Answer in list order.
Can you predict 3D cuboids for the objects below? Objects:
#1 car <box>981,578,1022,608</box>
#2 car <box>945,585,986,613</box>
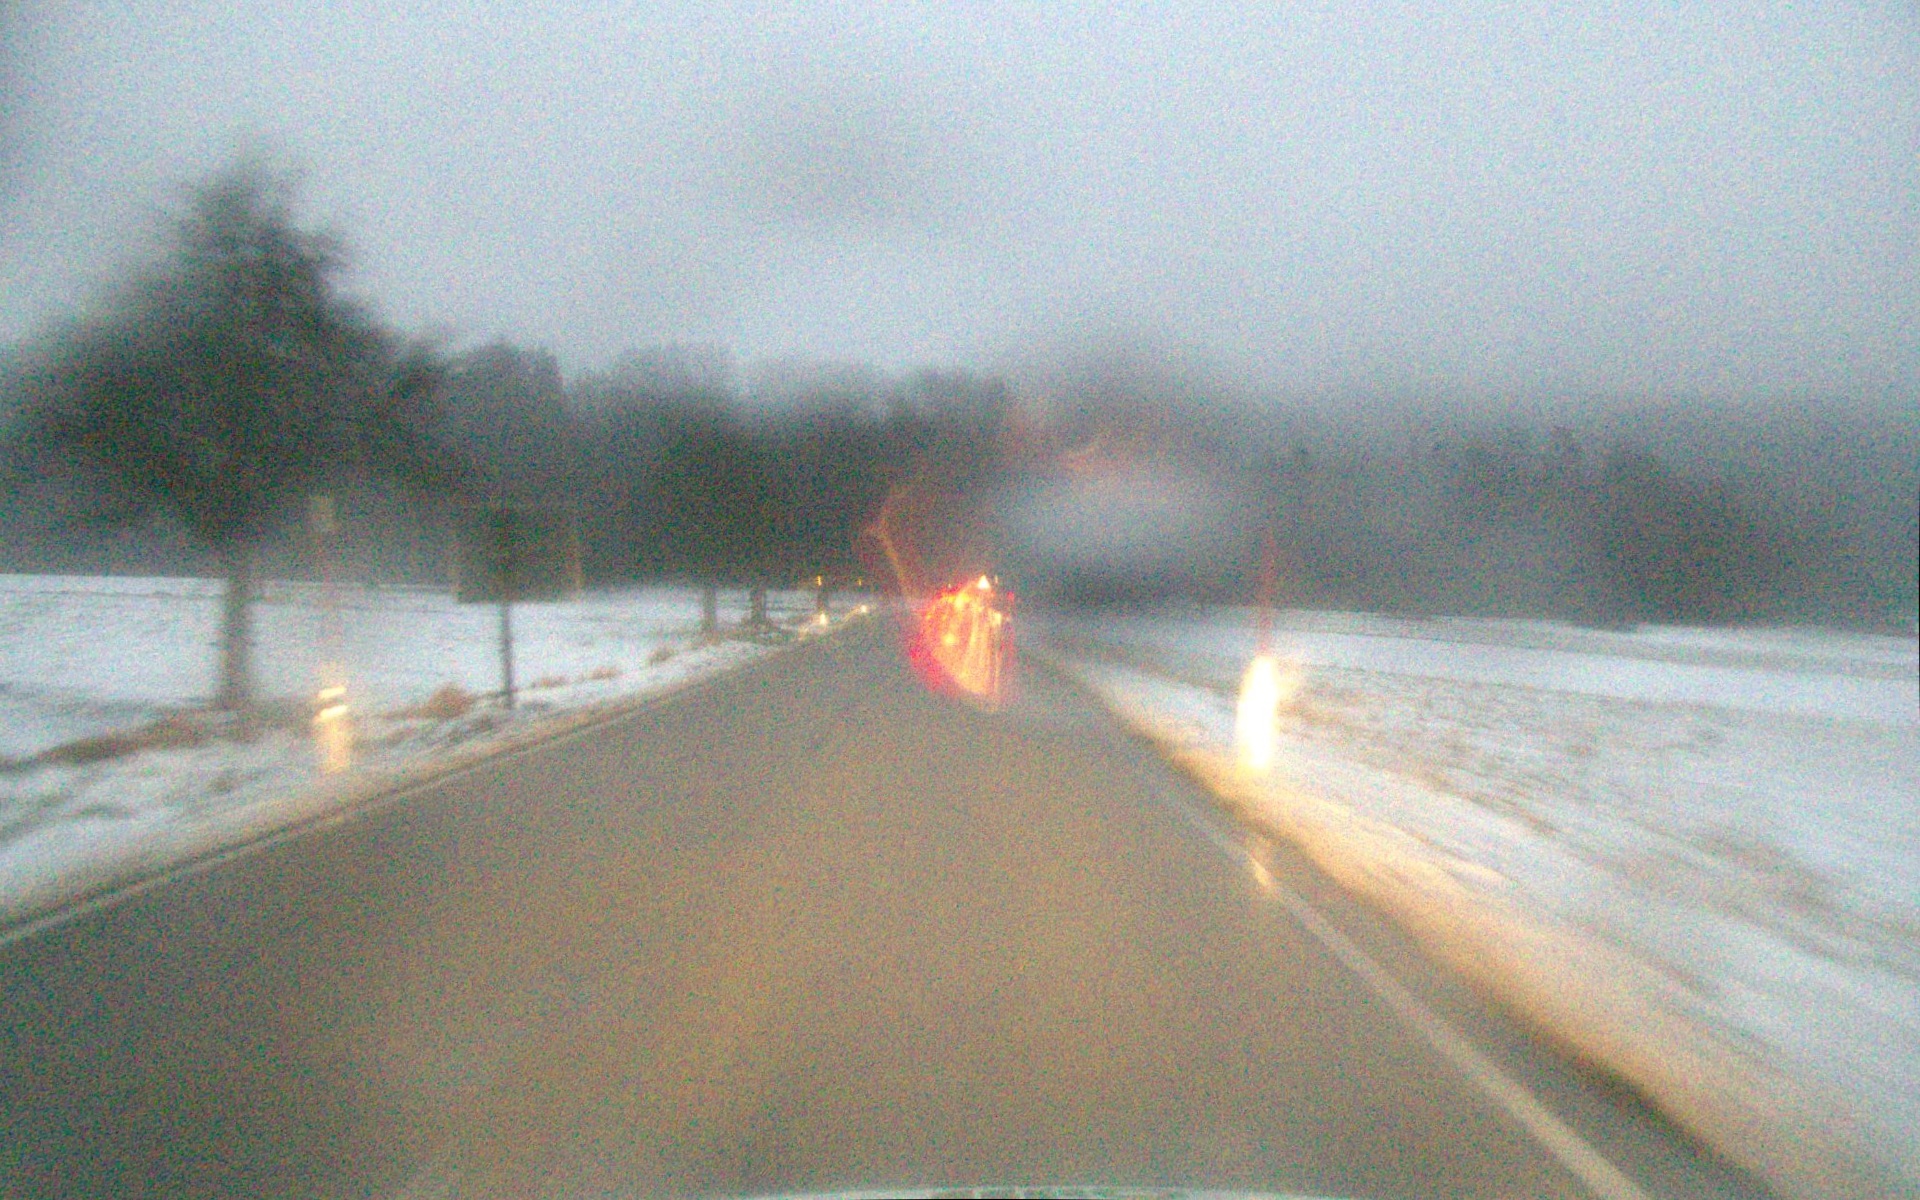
[{"bbox_3d":[3.884,-0.656,153.536,2.206,2.691,5.006,1,1,22],"label":"car"},{"bbox_3d":[0.451,-0.061,127.767,1.952,2.087,4.002,2,0,18],"label":"car"}]
